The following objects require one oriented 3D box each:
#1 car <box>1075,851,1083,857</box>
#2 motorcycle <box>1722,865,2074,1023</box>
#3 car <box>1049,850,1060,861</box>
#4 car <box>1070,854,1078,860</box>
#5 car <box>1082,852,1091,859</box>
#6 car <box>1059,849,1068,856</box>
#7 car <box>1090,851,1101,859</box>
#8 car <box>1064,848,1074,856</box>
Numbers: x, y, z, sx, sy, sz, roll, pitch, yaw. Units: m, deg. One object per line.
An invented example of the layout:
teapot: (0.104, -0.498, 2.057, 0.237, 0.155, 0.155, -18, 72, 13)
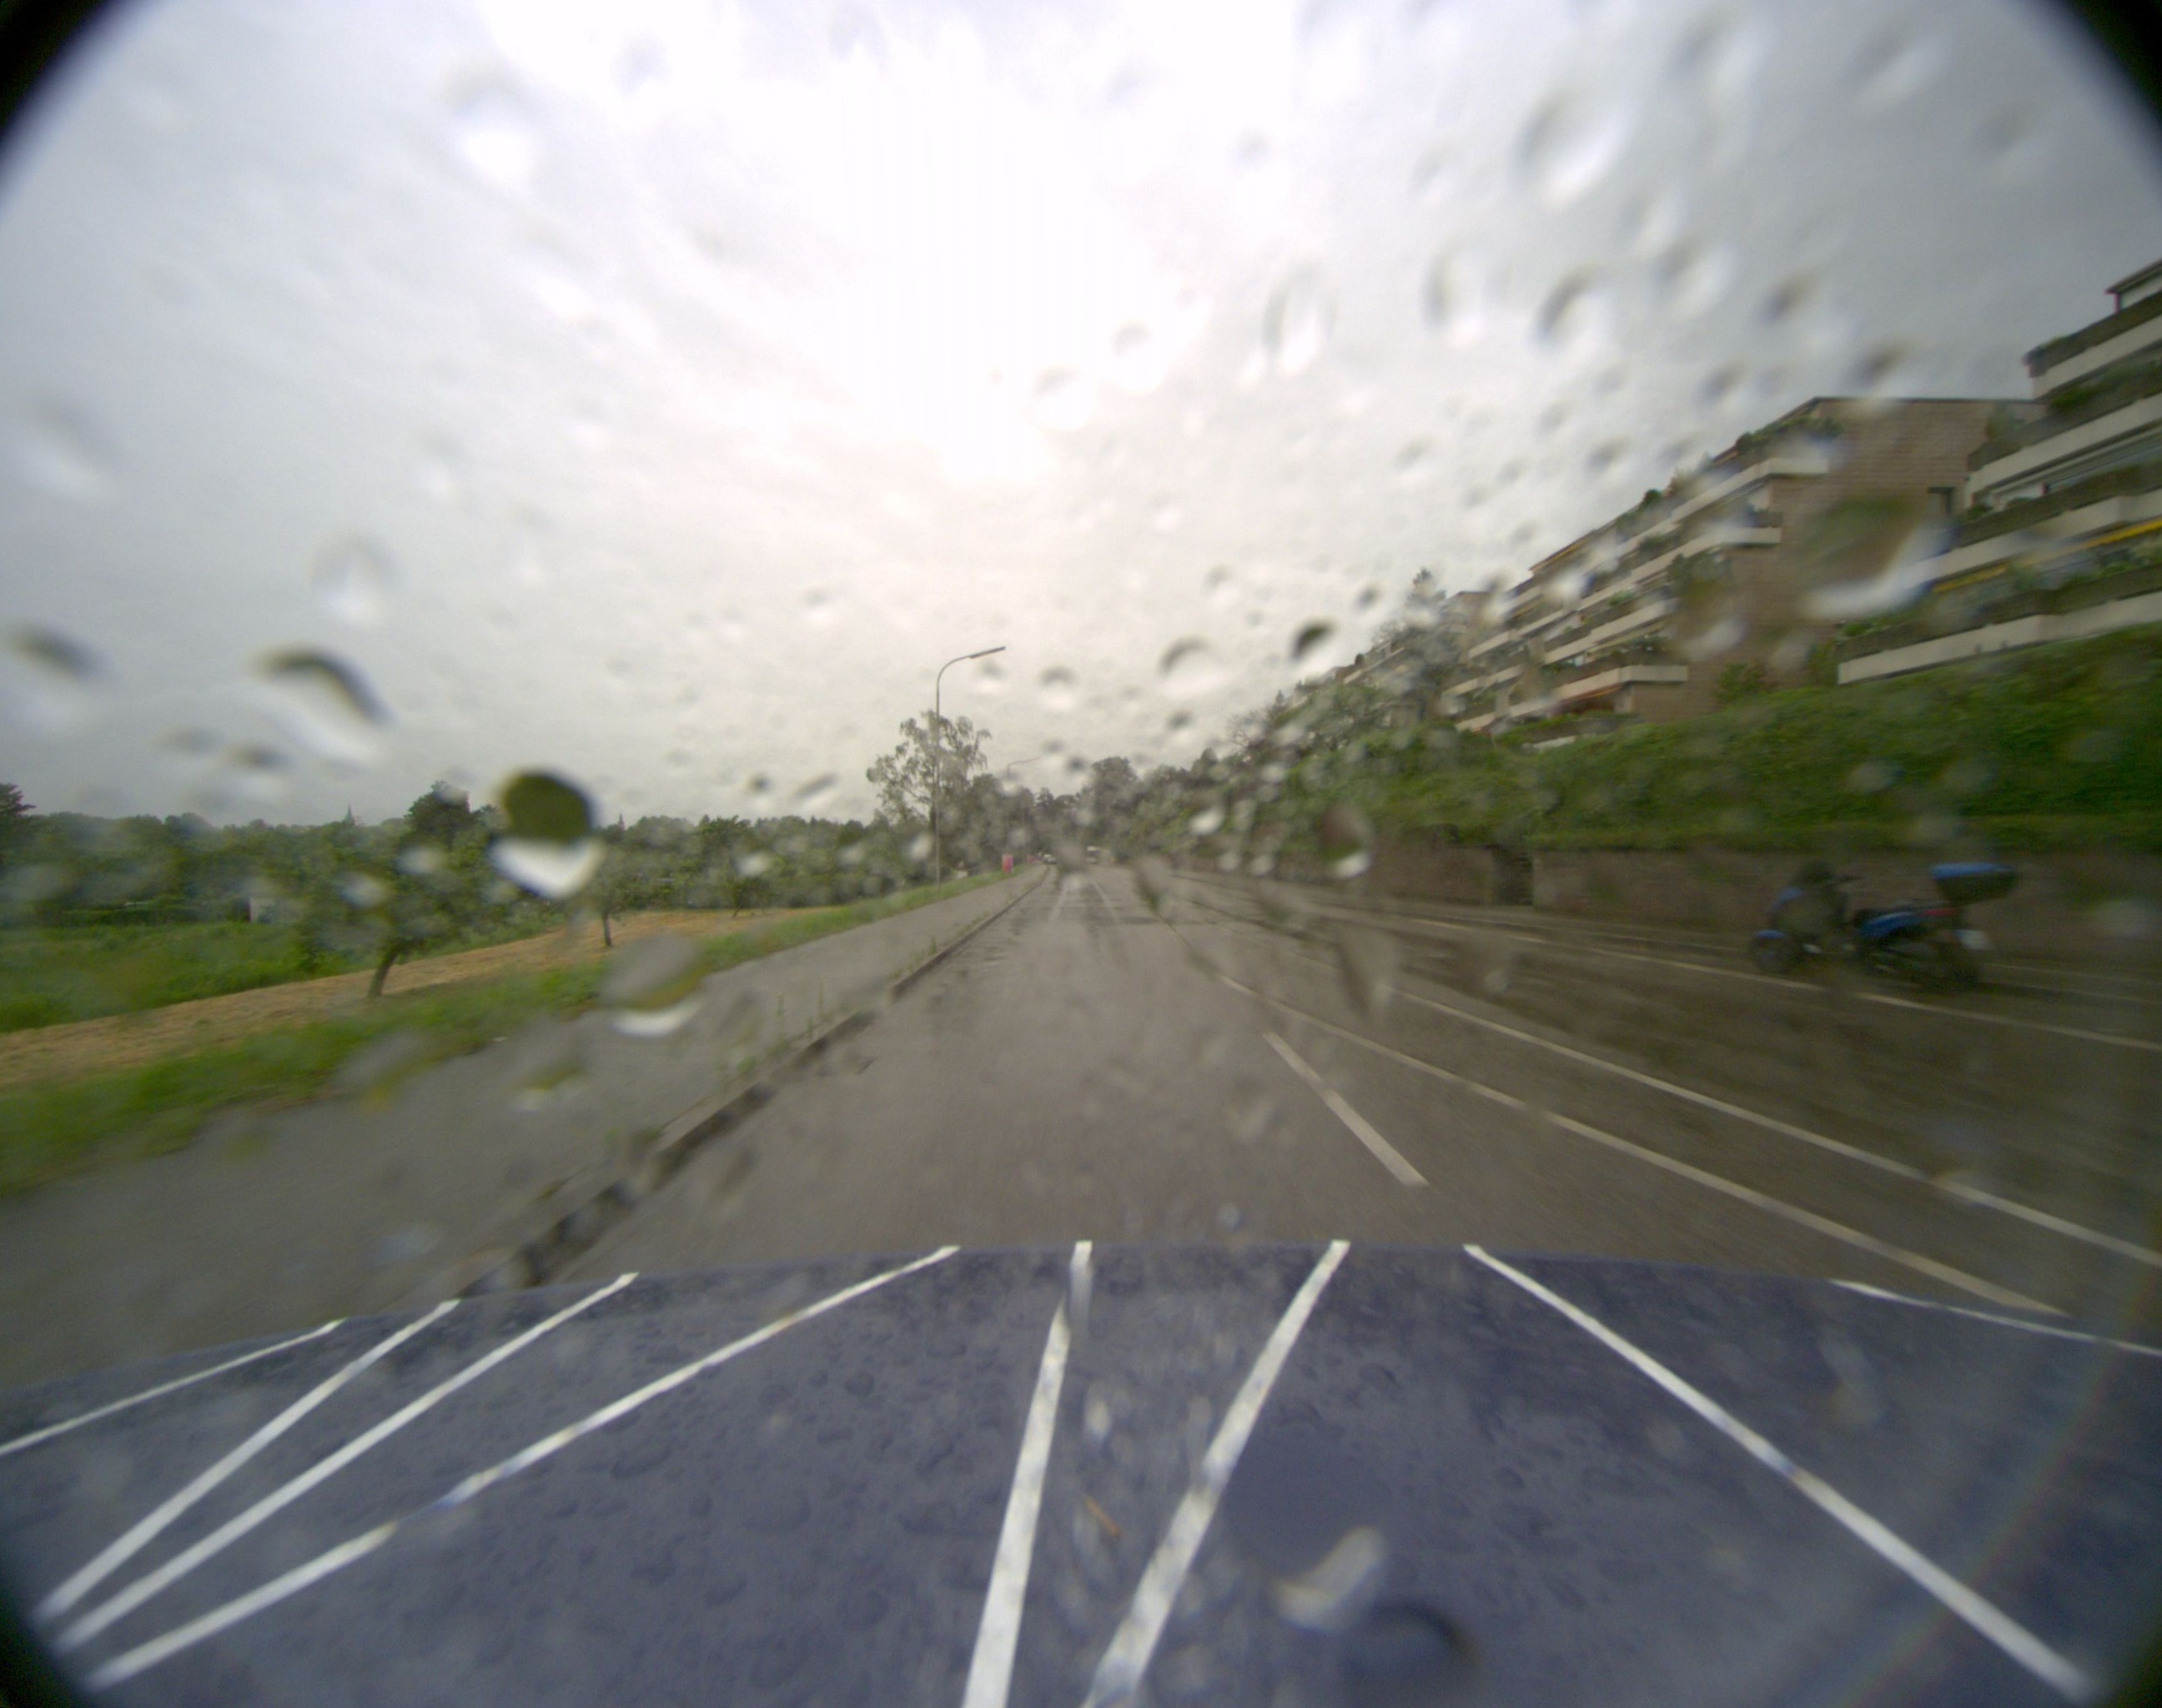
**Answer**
car: (-0.470, -0.009, 191.346, 1.853, 1.583, 3.704, -1, 0, -3)
motorcycle: (8.296, 0.812, 7.976, 0.840, 1.333, 2.497, 0, 1, -7)
car: (-5.127, 0.244, 146.787, 1.999, 2.002, 4.000, -1, 0, -2)
car: (-1.620, 0.714, 172.418, 1.597, 1.433, 3.703, 1, 0, -3)
car: (1.195, 0.339, 174.087, 1.853, 1.583, 3.704, -1, 0, -3)
car: (-5.160, -0.478, 222.916, 1.855, 2.137, 3.700, -1, 0, -13)
car: (2.929, 0.194, 155.968, 1.853, 1.583, 3.704, -1, 0, -3)
car: (-3.427, -0.588, 212.890, 1.855, 2.137, 3.700, -1, 0, -13)
